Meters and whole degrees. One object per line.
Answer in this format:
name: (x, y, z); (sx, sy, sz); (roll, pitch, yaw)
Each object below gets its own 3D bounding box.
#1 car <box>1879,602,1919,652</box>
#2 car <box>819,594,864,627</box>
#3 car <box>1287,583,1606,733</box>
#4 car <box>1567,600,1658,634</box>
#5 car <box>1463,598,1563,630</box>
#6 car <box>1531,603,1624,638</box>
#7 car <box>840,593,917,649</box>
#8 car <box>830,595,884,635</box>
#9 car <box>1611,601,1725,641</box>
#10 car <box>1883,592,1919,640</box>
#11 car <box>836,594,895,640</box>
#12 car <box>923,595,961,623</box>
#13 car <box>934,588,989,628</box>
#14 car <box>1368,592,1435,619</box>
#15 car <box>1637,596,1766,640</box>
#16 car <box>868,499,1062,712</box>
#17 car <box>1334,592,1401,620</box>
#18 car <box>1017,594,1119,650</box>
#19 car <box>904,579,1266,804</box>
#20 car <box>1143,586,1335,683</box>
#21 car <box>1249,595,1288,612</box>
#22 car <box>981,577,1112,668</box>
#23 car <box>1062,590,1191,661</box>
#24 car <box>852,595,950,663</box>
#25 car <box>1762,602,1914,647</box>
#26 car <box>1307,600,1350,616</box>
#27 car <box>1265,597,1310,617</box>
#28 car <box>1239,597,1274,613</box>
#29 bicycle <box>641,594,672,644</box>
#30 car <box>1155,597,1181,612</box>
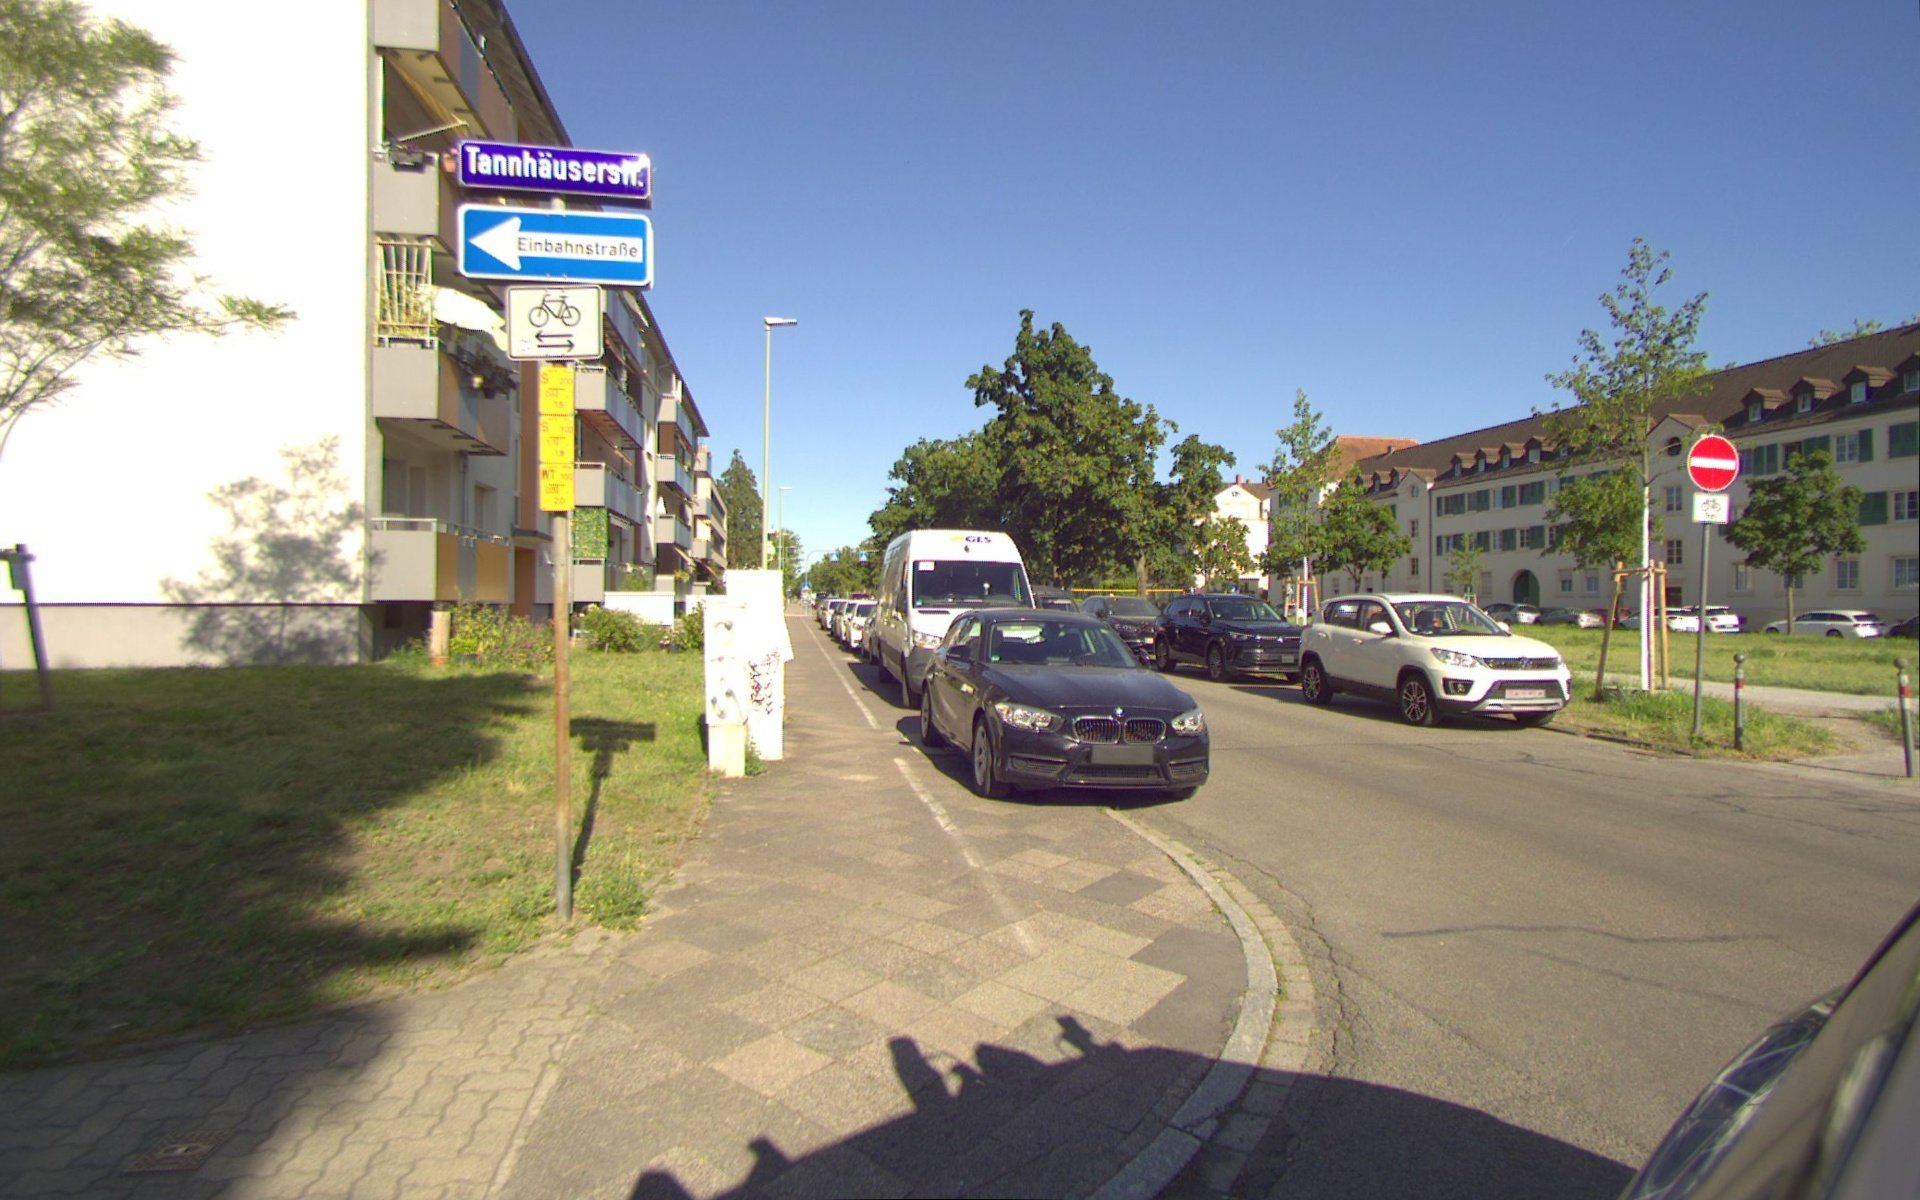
car: (37.022, 1.020, 37.015); (2.120, 1.843, 4.713); (0, 0, -11)
car: (-5.683, 0.476, 48.366); (1.717, 1.518, 3.868); (1, 0, -13)
car: (6.261, 0.660, 13.676); (1.726, 1.668, 4.293); (2, 0, -9)
car: (38.533, 0.989, 59.911); (2.224, 1.929, 4.174); (0, 0, -11)
car: (32.898, 0.793, 60.469); (2.408, 1.843, 5.461); (0, 0, -8)
car: (33.777, 1.088, 55.475); (2.277, 1.772, 4.015); (0, 0, -8)
car: (-2.431, 0.564, 29.220); (1.845, 1.494, 4.147); (1, 0, -9)
car: (-4.103, 0.560, 39.914); (1.669, 1.454, 4.479); (2, 0, -11)
car: (34.780, 1.004, 49.872); (2.196, 1.843, 4.265); (0, 0, -12)
car: (41.574, 0.681, 42.510); (1.636, 2.039, 3.904); (0, 1, -10)
car: (-3.270, 0.547, 34.539); (1.691, 1.454, 4.159); (1, 0, -10)
car: (-1.036, 0.467, 55.259); (1.511, 1.446, 4.094); (0, 0, -9)
car: (0.019, 0.337, 49.253); (1.832, 1.807, 5.000); (0, 1, -10)
car: (34.796, 0.405, 79.944); (2.181, 2.009, 5.267); (0, 0, -12)
car: (39.678, 0.929, 54.365); (2.486, 2.244, 5.267); (0, 0, -12)
car: (-0.233, 0.069, 16.739); (2.105, 2.747, 6.851); (2, 0, -8)
car: (30.270, 0.445, 75.422); (2.182, 2.009, 5.266); (0, 0, -10)
car: (3.213, 0.628, 31.079); (1.840, 1.538, 4.478); (2, 0, -11)
car: (0.764, 0.625, 9.130); (1.924, 1.500, 4.507); (2, 0, -11)
car: (5.352, 0.603, 20.144); (1.810, 1.659, 4.722); (2, 0, -10)
car: (35.452, 0.366, 116.253); (3.738, 1.980, 2.046); (0, 0, -8)
car: (1.786, 0.449, 22.327); (1.864, 1.813, 4.163); (0, 0, -10)
car: (4.163, 0.590, 26.129); (1.788, 1.630, 4.746); (2, 0, -10)
car: (-1.528, 0.632, 24.610); (1.816, 1.484, 4.209); (-1, 0, -11)
car: (40.818, 1.088, 47.268); (2.116, 1.909, 5.167); (0, 0, -10)
car: (32.855, 0.730, 90.318); (1.738, 1.373, 4.007); (0, 0, -10)
car: (27.947, 0.569, 86.480); (1.757, 1.603, 4.243); (0, 0, -11)
car: (26.889, 0.428, 91.736); (1.621, 1.349, 3.521); (0, 0, -11)
bicycle: (-7.978, 0.477, 26.666); (0.585, 1.190, 2.018); (0, 2, -11)
car: (26.137, 0.530, 127.198); (1.916, 1.816, 4.006); (0, 0, -8)
